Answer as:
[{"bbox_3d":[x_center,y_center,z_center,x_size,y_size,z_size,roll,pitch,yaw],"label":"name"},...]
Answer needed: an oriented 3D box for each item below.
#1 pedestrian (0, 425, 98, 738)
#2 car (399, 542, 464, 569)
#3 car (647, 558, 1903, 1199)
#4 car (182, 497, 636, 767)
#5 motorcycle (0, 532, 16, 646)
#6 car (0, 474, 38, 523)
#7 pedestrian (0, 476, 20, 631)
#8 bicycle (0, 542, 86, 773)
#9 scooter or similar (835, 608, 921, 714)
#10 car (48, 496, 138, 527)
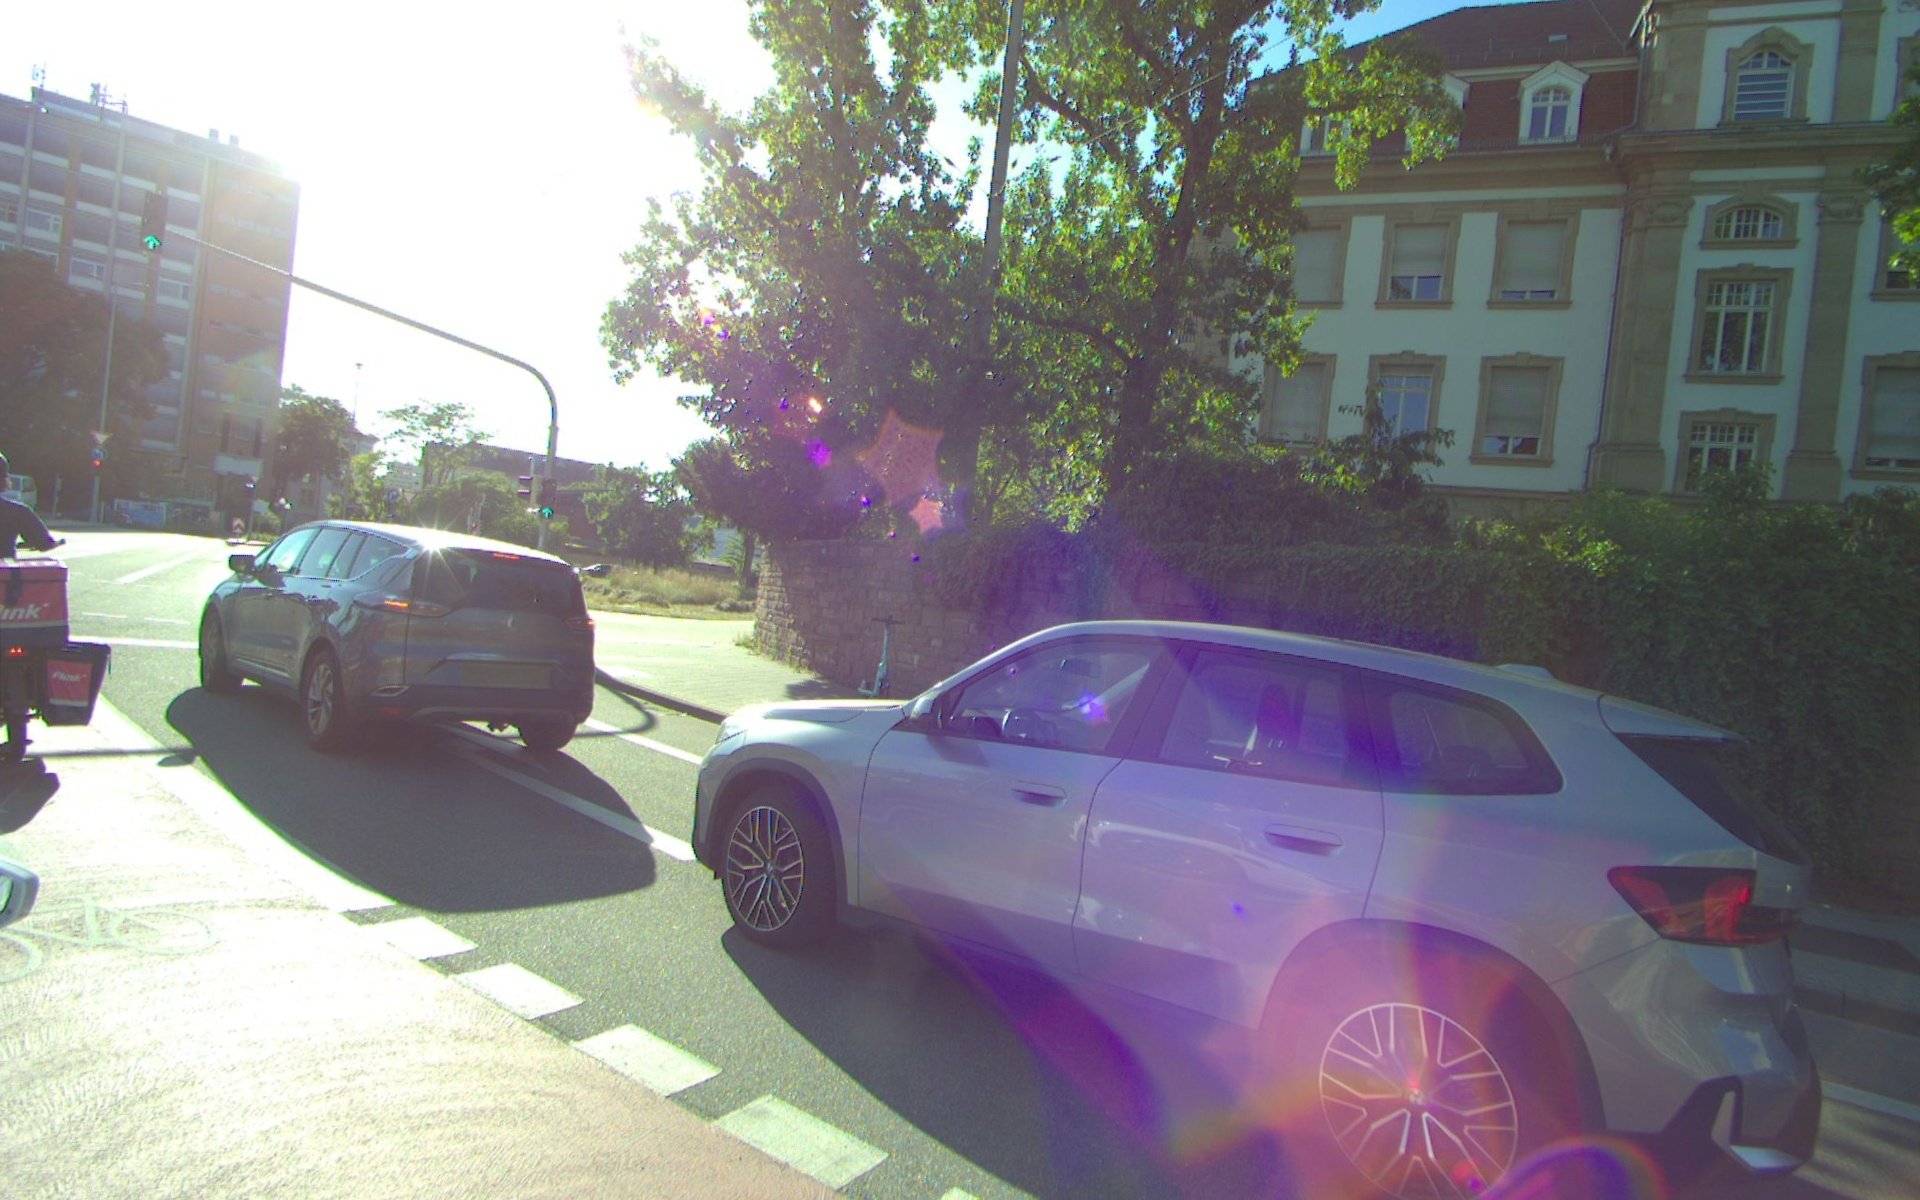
[{"bbox_3d":[-6.216,-0.146,6.392,0.943,1.890,0.806,6,-1,40],"label":"pedestrian"},{"bbox_3d":[-38.189,-3.207,72.691,3.960,1.549,1.788,6,1,-34],"label":"car"},{"bbox_3d":[0.826,0.882,4.242,4.263,1.612,1.788,6,-2,37],"label":"car"},{"bbox_3d":[-4.837,0.163,8.554,4.307,1.709,1.830,6,-2,40],"label":"car"},{"bbox_3d":[-8.927,-0.081,8.911,0.611,1.110,2.334,8,-2,-41],"label":"motorcycle"},{"bbox_3d":[-41.933,-4.467,43.881,1.897,1.970,4.660,4,1,-36],"label":"car"},{"bbox_3d":[-8.711,-0.301,8.747,0.585,1.617,1.013,8,-1,-41],"label":"pedestrian"},{"bbox_3d":[-5.991,0.256,6.177,2.340,1.185,0.553,6,-2,42],"label":"bicycle"},{"bbox_3d":[-1.155,0.819,13.881,0.569,1.285,1.414,6,0,-27],"label":"scooter or similar"},{"bbox_3d":[-60.517,-6.169,70.337,4.338,1.549,1.794,6,1,-26],"label":"car"}]
